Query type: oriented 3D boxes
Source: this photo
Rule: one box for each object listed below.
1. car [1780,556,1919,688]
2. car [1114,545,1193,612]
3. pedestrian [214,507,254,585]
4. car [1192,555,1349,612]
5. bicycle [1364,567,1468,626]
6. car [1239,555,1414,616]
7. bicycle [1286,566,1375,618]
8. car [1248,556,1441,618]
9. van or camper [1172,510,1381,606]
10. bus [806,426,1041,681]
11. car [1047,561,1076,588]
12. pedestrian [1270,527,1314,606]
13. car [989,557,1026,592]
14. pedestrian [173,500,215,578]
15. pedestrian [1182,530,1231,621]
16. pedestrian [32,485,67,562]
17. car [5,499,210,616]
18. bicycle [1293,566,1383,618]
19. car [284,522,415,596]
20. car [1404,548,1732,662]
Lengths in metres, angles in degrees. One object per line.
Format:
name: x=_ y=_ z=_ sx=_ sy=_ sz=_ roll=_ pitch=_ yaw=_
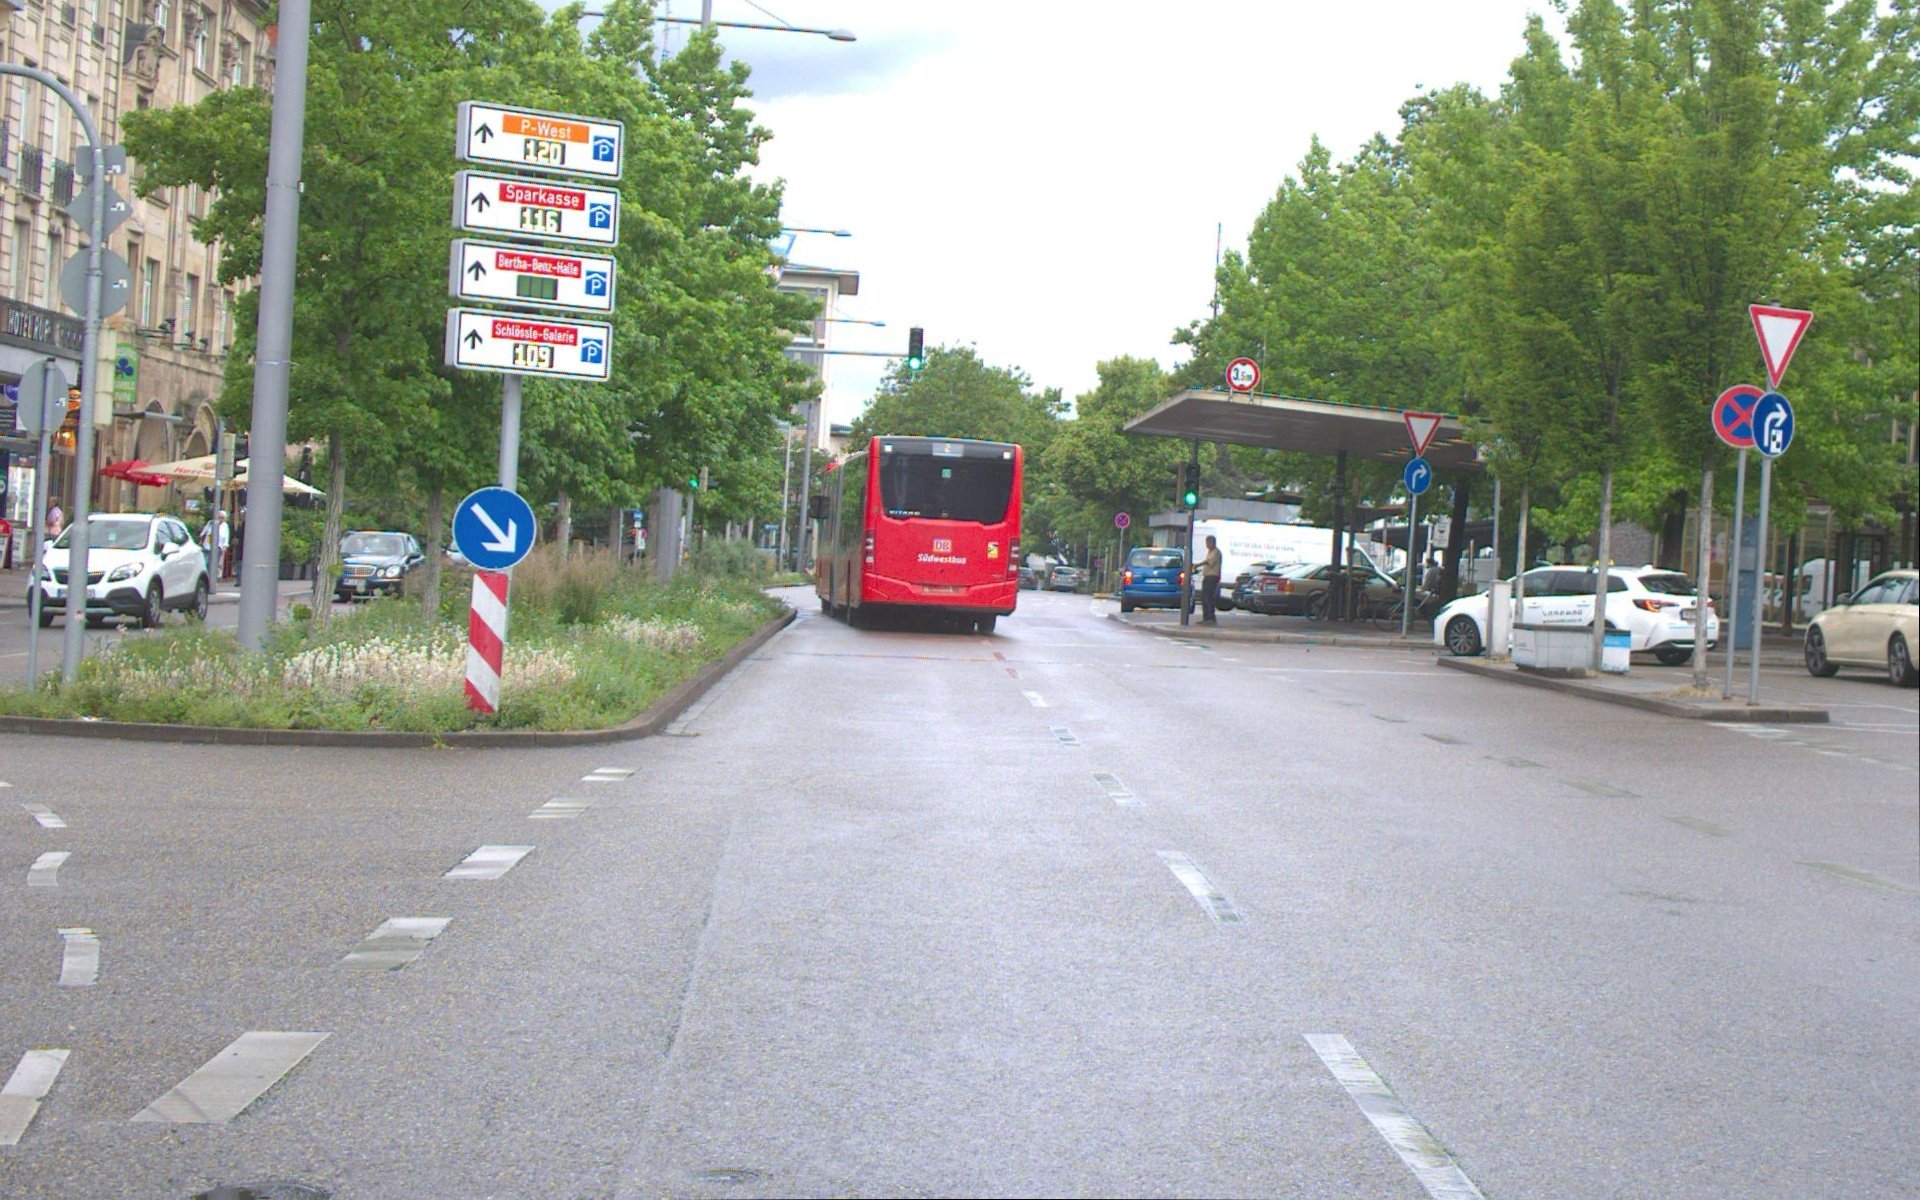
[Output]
car: x=12.575 y=0.260 z=44.715 sx=1.993 sy=1.594 sz=4.960 roll=1 pitch=1 yaw=-8
car: x=4.803 y=-0.515 z=85.438 sx=1.859 sy=1.564 sz=3.999 roll=2 pitch=0 yaw=3
pedestrian: x=-15.694 y=-1.168 z=74.334 sx=0.681 sy=1.658 sz=0.807 roll=1 pitch=0 yaw=0
car: x=8.743 y=-0.472 z=96.746 sx=3.986 sy=1.438 sz=1.865 roll=2 pitch=0 yaw=-27
bicycle: x=8.357 y=-0.064 z=63.040 sx=1.827 sy=1.052 sz=0.420 roll=1 pitch=0 yaw=-1
car: x=9.182 y=-0.359 z=86.001 sx=3.986 sy=1.354 sz=1.865 roll=2 pitch=0 yaw=-31
bicycle: x=7.752 y=-0.168 z=71.991 sx=1.827 sy=1.052 sz=0.420 roll=1 pitch=0 yaw=-18
car: x=9.200 y=-0.319 z=82.335 sx=4.184 sy=1.321 sz=1.841 roll=2 pitch=0 yaw=-20
van or camper: x=9.477 y=-1.242 z=102.793 sx=5.945 sy=2.753 sz=2.199 roll=1 pitch=1 yaw=-27
bus: x=-0.817 y=-0.787 z=59.831 sx=3.544 sy=3.966 sz=11.173 roll=1 pitch=1 yaw=-3
car: x=6.218 y=-1.589 z=211.675 sx=1.644 sy=1.655 sz=3.650 roll=1 pitch=1 yaw=0
pedestrian: x=7.856 y=-0.781 z=81.361 sx=0.856 sy=1.829 sz=1.190 roll=2 pitch=0 yaw=-1
car: x=2.173 y=-1.168 z=157.146 sx=1.595 sy=1.555 sz=3.650 roll=1 pitch=1 yaw=0
pedestrian: x=-16.553 y=-1.319 z=74.325 sx=0.681 sy=1.658 sz=0.807 roll=1 pitch=0 yaw=3
pedestrian: x=4.796 y=-0.483 z=66.878 sx=0.746 sy=1.741 sz=0.836 roll=2 pitch=0 yaw=-9
pedestrian: x=-19.766 y=-1.652 z=74.644 sx=0.666 sy=1.658 sz=0.537 roll=1 pitch=0 yaw=-9
car: x=-12.311 y=-0.612 z=49.906 sx=1.955 sy=1.612 sz=4.208 roll=1 pitch=1 yaw=-1
bicycle: x=7.869 y=-0.162 z=71.544 sx=1.827 sy=1.052 sz=0.420 roll=1 pitch=0 yaw=-18
car: x=-12.137 y=-0.812 z=68.602 sx=1.955 sy=1.418 sz=4.000 roll=1 pitch=1 yaw=-1
car: x=9.017 y=0.054 z=51.306 sx=1.758 sy=1.540 sz=4.775 roll=2 pitch=0 yaw=-40
